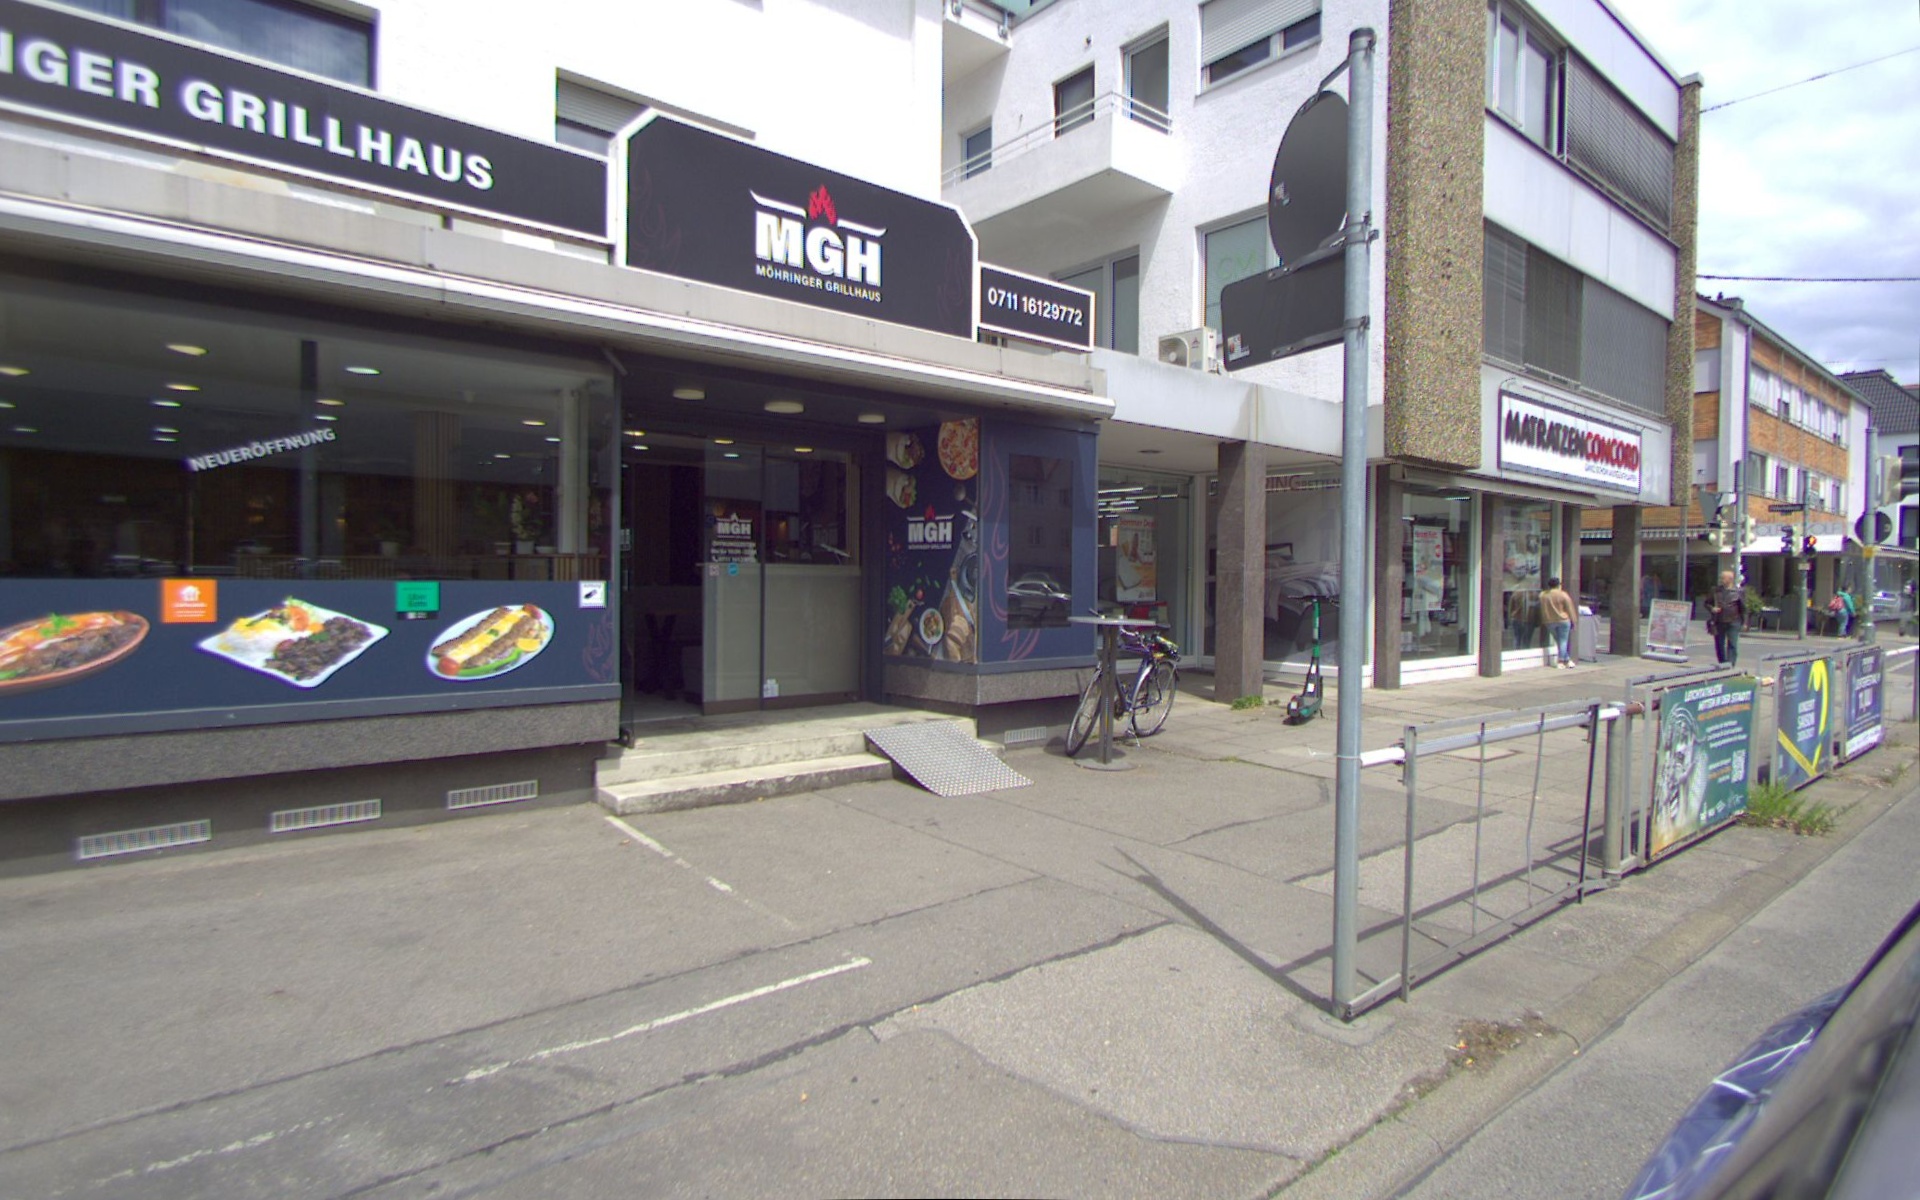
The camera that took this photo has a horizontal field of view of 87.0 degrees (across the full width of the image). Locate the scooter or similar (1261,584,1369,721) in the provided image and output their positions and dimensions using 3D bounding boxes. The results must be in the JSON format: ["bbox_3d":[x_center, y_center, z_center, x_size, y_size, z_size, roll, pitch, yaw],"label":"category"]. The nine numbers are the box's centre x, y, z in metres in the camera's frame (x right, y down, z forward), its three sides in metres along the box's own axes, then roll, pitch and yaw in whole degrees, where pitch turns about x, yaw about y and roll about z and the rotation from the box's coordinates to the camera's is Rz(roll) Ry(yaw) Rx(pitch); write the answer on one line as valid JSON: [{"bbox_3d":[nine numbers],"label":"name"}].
[{"bbox_3d":[3.654,0.494,10.373,0.686,1.283,1.169,2,2,38],"label":"scooter or similar"}]

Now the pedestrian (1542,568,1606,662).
[{"bbox_3d":[10.133,0.231,16.714,0.707,1.517,0.681,0,1,-40],"label":"pedestrian"}]

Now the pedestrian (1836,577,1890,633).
[{"bbox_3d":[25.707,0.142,28.829,0.802,1.544,0.781,1,1,-12],"label":"pedestrian"}]

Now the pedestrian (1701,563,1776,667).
[{"bbox_3d":[13.150,0.228,17.098,0.793,1.691,0.796,0,2,-40],"label":"pedestrian"}]

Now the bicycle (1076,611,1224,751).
[{"bbox_3d":[1.650,0.639,8.608,0.474,1.040,1.612,2,2,41],"label":"bicycle"}]
